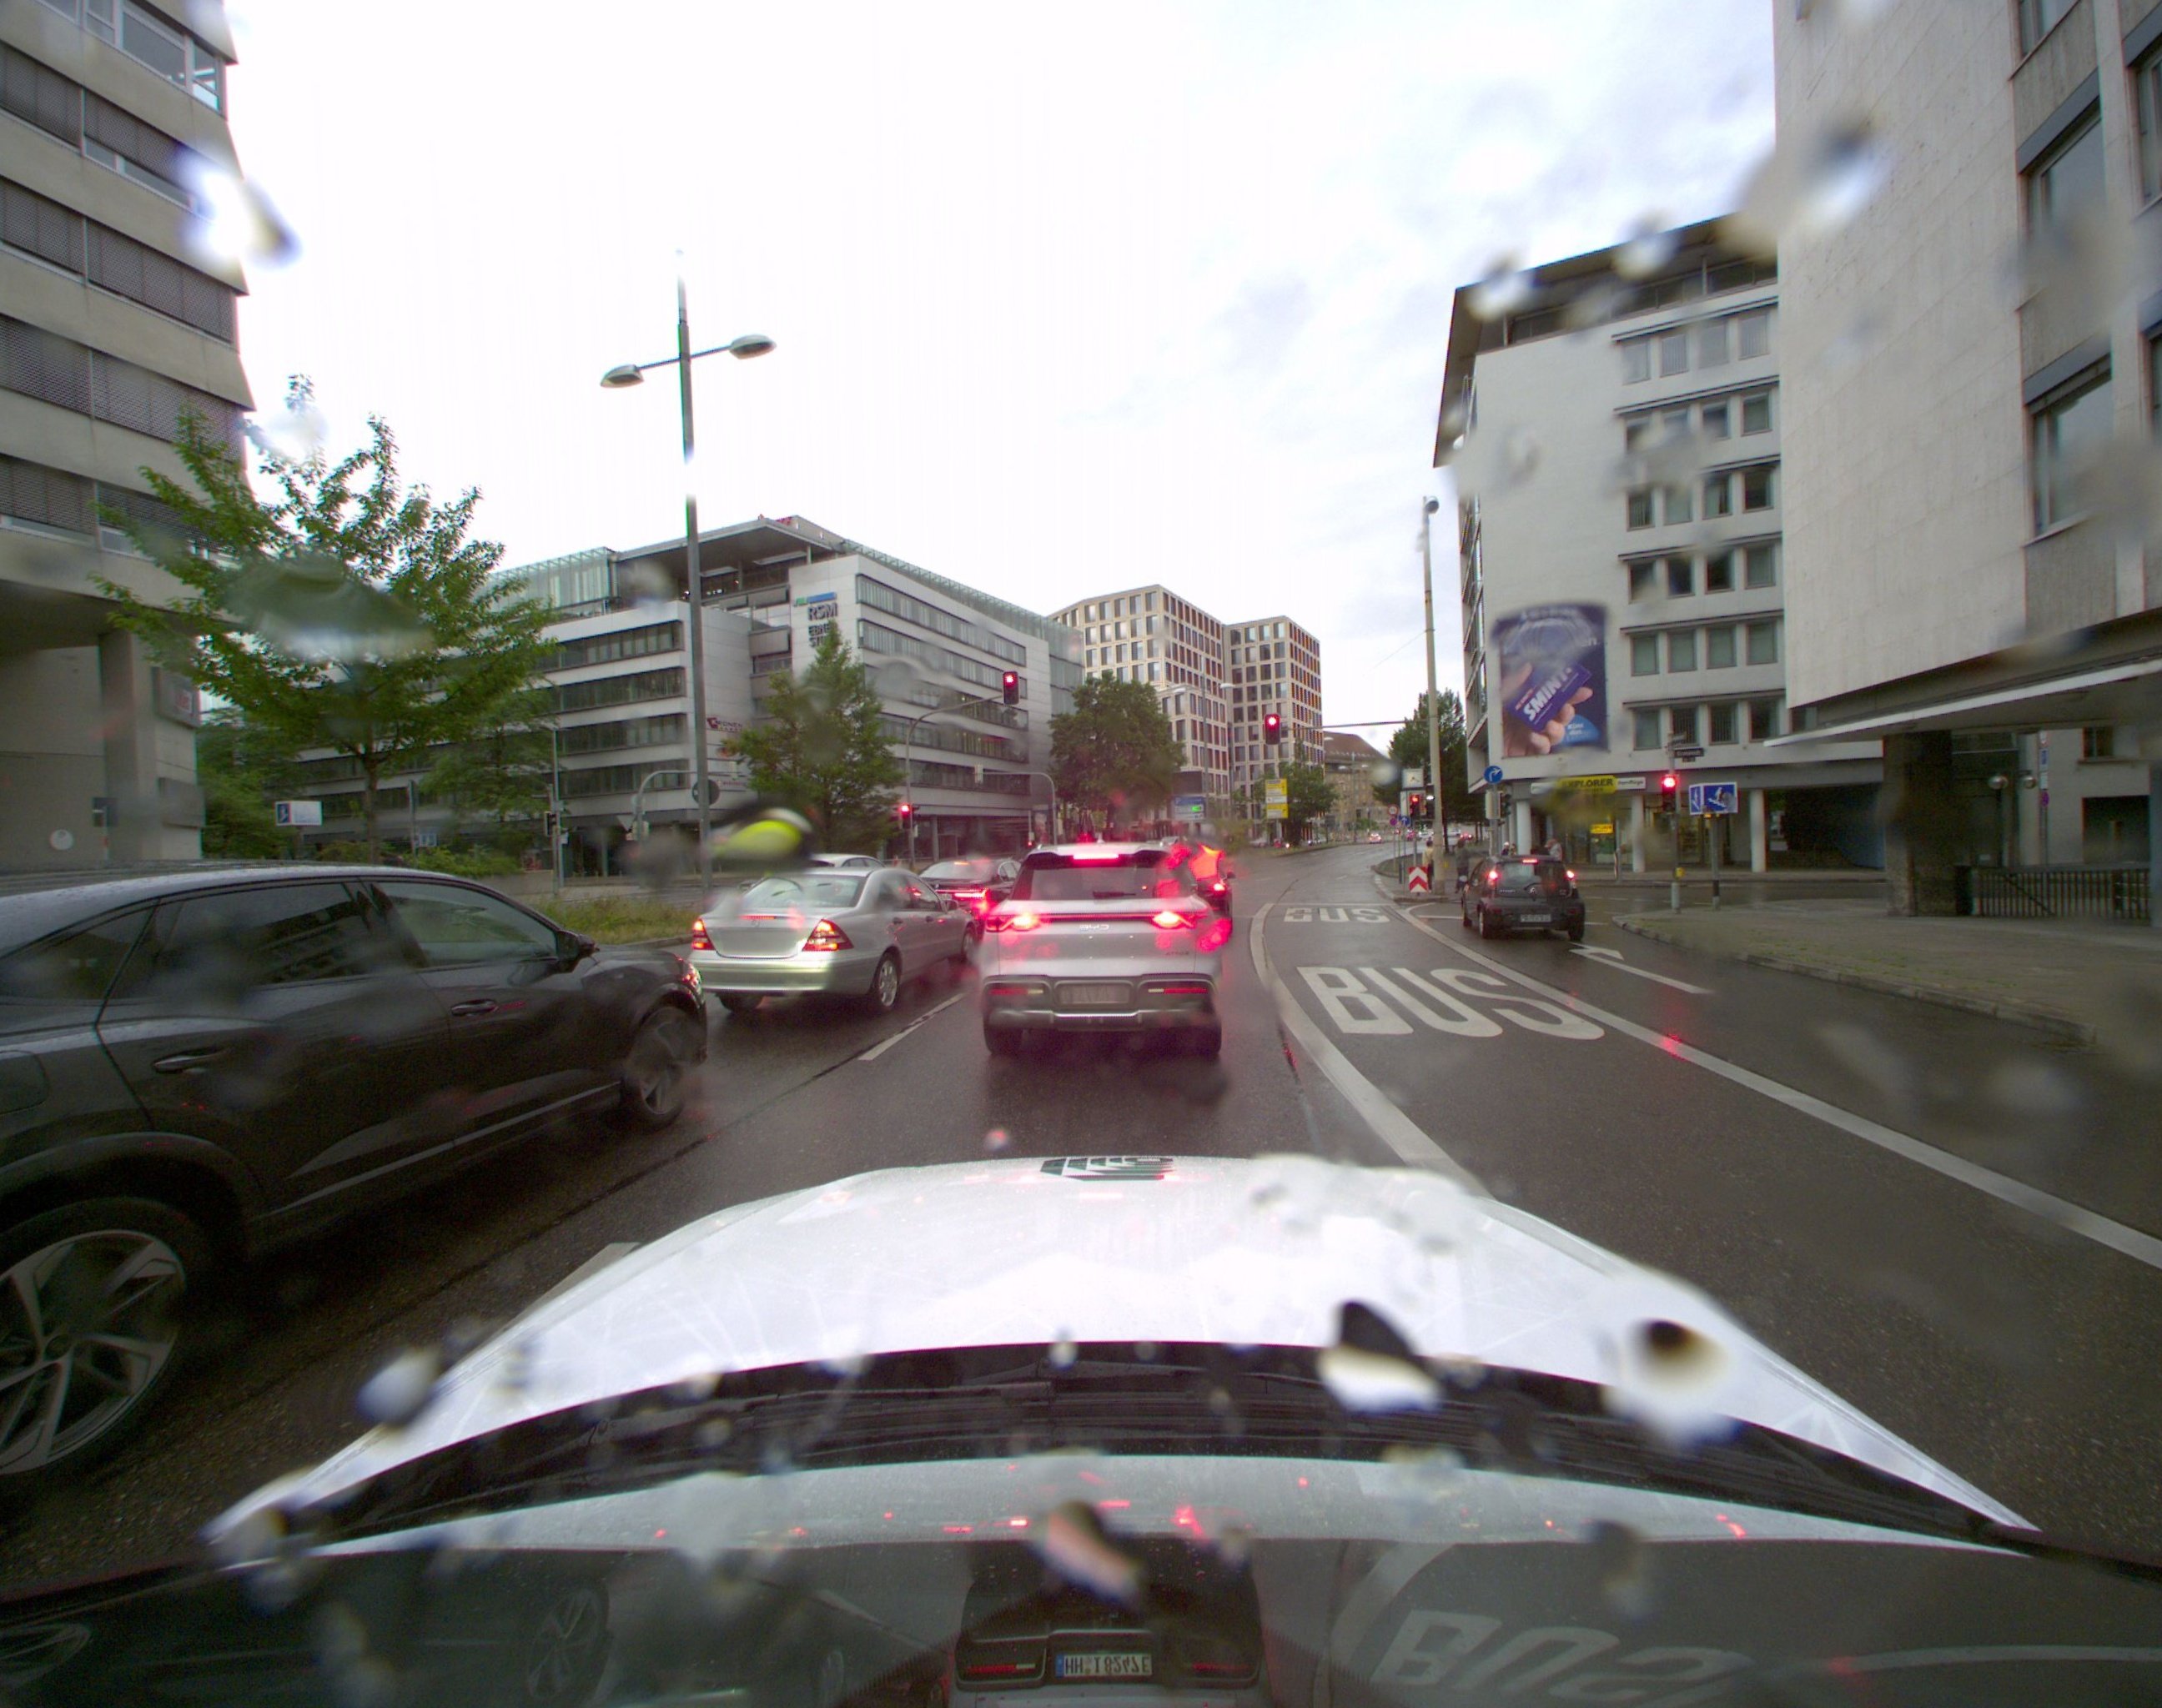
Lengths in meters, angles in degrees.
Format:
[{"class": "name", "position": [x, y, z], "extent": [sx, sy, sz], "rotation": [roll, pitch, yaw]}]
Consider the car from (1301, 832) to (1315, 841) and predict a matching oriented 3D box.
[{"class": "car", "position": [45.338, -3.453, 162.807], "extent": [1.590, 1.741, 3.467], "rotation": [-1, -1, 34]}]

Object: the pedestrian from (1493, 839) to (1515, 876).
[{"class": "pedestrian", "position": [19.004, 0.139, 36.573], "extent": [0.657, 1.655, 0.662], "rotation": [-1, 0, -45]}]

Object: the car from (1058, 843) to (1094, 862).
[{"class": "car", "position": [-0.399, -0.136, 69.242], "extent": [1.623, 1.571, 3.740], "rotation": [-1, -1, 25]}]

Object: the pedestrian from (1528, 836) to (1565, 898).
[{"class": "pedestrian", "position": [13.229, 0.373, 23.148], "extent": [0.764, 1.731, 0.599], "rotation": [-1, 0, 16]}]

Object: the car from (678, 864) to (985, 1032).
[{"class": "car", "position": [-2.418, 0.828, 9.057], "extent": [1.561, 1.407, 4.120], "rotation": [-1, -1, 10]}]

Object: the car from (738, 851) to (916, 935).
[{"class": "car", "position": [-4.954, 0.704, 16.522], "extent": [1.696, 1.486, 4.013], "rotation": [-1, -1, 11]}]

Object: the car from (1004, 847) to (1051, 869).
[{"class": "car", "position": [-4.035, 0.301, 62.145], "extent": [1.976, 1.610, 4.022], "rotation": [-1, 0, 22]}]

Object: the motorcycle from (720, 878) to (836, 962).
[{"class": "motorcycle", "position": [-4.780, 0.997, 13.025], "extent": [0.795, 1.185, 2.034], "rotation": [-1, -1, 11]}]

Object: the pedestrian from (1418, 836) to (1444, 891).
[{"class": "pedestrian", "position": [11.613, 0.317, 27.057], "extent": [0.742, 1.798, 0.821], "rotation": [-1, 1, 22]}]

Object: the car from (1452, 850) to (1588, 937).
[{"class": "car", "position": [8.173, 0.664, 15.478], "extent": [1.558, 1.429, 4.018], "rotation": [-1, -1, 18]}]

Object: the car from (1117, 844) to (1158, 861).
[{"class": "car", "position": [5.587, -0.145, 80.238], "extent": [1.796, 1.510, 5.229], "rotation": [-1, 1, 31]}]

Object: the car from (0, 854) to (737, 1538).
[{"class": "car", "position": [-3.205, 0.781, 3.309], "extent": [1.642, 1.521, 4.274], "rotation": [-1, 0, 2]}]

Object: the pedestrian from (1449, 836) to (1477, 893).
[{"class": "pedestrian", "position": [12.366, 0.340, 26.375], "extent": [0.742, 1.798, 0.821], "rotation": [-1, 1, 22]}]

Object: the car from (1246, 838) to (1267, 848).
[{"class": "car", "position": [26.437, -1.663, 122.409], "extent": [1.974, 1.488, 4.025], "rotation": [-1, 1, 29]}]

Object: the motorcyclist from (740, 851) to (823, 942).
[{"class": "motorcyclist", "position": [-4.765, 0.649, 13.007], "extent": [0.765, 1.380, 1.122], "rotation": [-1, -1, 11]}]

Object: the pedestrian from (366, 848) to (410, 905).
[{"class": "pedestrian", "position": [-20.701, 0.665, 24.343], "extent": [0.755, 1.683, 0.682], "rotation": [0, 0, 15]}]

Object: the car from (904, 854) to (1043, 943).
[{"class": "car", "position": [-1.913, 0.767, 15.713], "extent": [1.561, 1.486, 4.010], "rotation": [-1, -1, 9]}]

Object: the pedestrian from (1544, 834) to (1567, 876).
[{"class": "pedestrian", "position": [20.563, 0.028, 35.288], "extent": [0.778, 1.794, 0.662], "rotation": [-1, 0, -45]}]

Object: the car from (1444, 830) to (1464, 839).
[{"class": "car", "position": [83.117, -4.330, 181.552], "extent": [3.949, 2.013, 2.012], "rotation": [-1, 0, 28]}]

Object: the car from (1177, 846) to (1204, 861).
[{"class": "car", "position": [12.321, -0.089, 91.470], "extent": [1.616, 1.559, 4.620], "rotation": [-1, 1, 25]}]

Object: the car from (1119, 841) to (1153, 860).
[{"class": "car", "position": [4.915, -0.295, 72.233], "extent": [1.629, 1.581, 4.108], "rotation": [-1, 0, 23]}]

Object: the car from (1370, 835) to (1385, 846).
[{"class": "car", "position": [48.038, -2.206, 131.899], "extent": [1.871, 1.643, 4.023], "rotation": [-1, 0, 24]}]

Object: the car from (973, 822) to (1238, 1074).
[{"class": "car", "position": [0.296, 0.651, 7.486], "extent": [1.768, 1.679, 4.004], "rotation": [-1, -1, 4]}]

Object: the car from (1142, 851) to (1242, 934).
[{"class": "car", "position": [2.383, 0.707, 16.706], "extent": [1.682, 1.486, 4.013], "rotation": [-1, -1, 12]}]

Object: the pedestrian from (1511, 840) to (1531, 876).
[{"class": "pedestrian", "position": [19.493, 0.179, 36.072], "extent": [0.657, 1.543, 0.618], "rotation": [-1, 0, -45]}]

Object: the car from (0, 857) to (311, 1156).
[{"class": "car", "position": [-6.527, 0.810, 3.524], "extent": [1.859, 1.533, 4.775], "rotation": [-1, 0, -1]}]

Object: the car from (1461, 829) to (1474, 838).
[{"class": "car", "position": [70.678, -3.740, 149.076], "extent": [1.677, 1.486, 4.025], "rotation": [-1, -1, 32]}]

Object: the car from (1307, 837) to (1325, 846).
[{"class": "car", "position": [39.202, -2.084, 135.564], "extent": [1.974, 1.488, 4.025], "rotation": [-1, 1, 29]}]

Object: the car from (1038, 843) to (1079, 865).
[{"class": "car", "position": [-1.617, -0.046, 59.695], "extent": [1.630, 1.536, 4.172], "rotation": [-1, 0, 18]}]

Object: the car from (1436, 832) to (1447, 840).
[{"class": "car", "position": [87.050, -4.332, 196.550], "extent": [1.975, 2.013, 4.025], "rotation": [-1, 0, 29]}]

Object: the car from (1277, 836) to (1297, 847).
[{"class": "car", "position": [31.959, -1.932, 126.258], "extent": [1.974, 1.488, 4.025], "rotation": [-1, 1, 29]}]

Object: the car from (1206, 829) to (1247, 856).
[{"class": "car", "position": [11.636, -0.876, 64.845], "extent": [1.975, 2.014, 4.876], "rotation": [-1, -1, 25]}]

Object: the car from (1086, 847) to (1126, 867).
[{"class": "car", "position": [1.818, 0.246, 59.059], "extent": [1.675, 1.385, 3.888], "rotation": [-1, -1, 21]}]
